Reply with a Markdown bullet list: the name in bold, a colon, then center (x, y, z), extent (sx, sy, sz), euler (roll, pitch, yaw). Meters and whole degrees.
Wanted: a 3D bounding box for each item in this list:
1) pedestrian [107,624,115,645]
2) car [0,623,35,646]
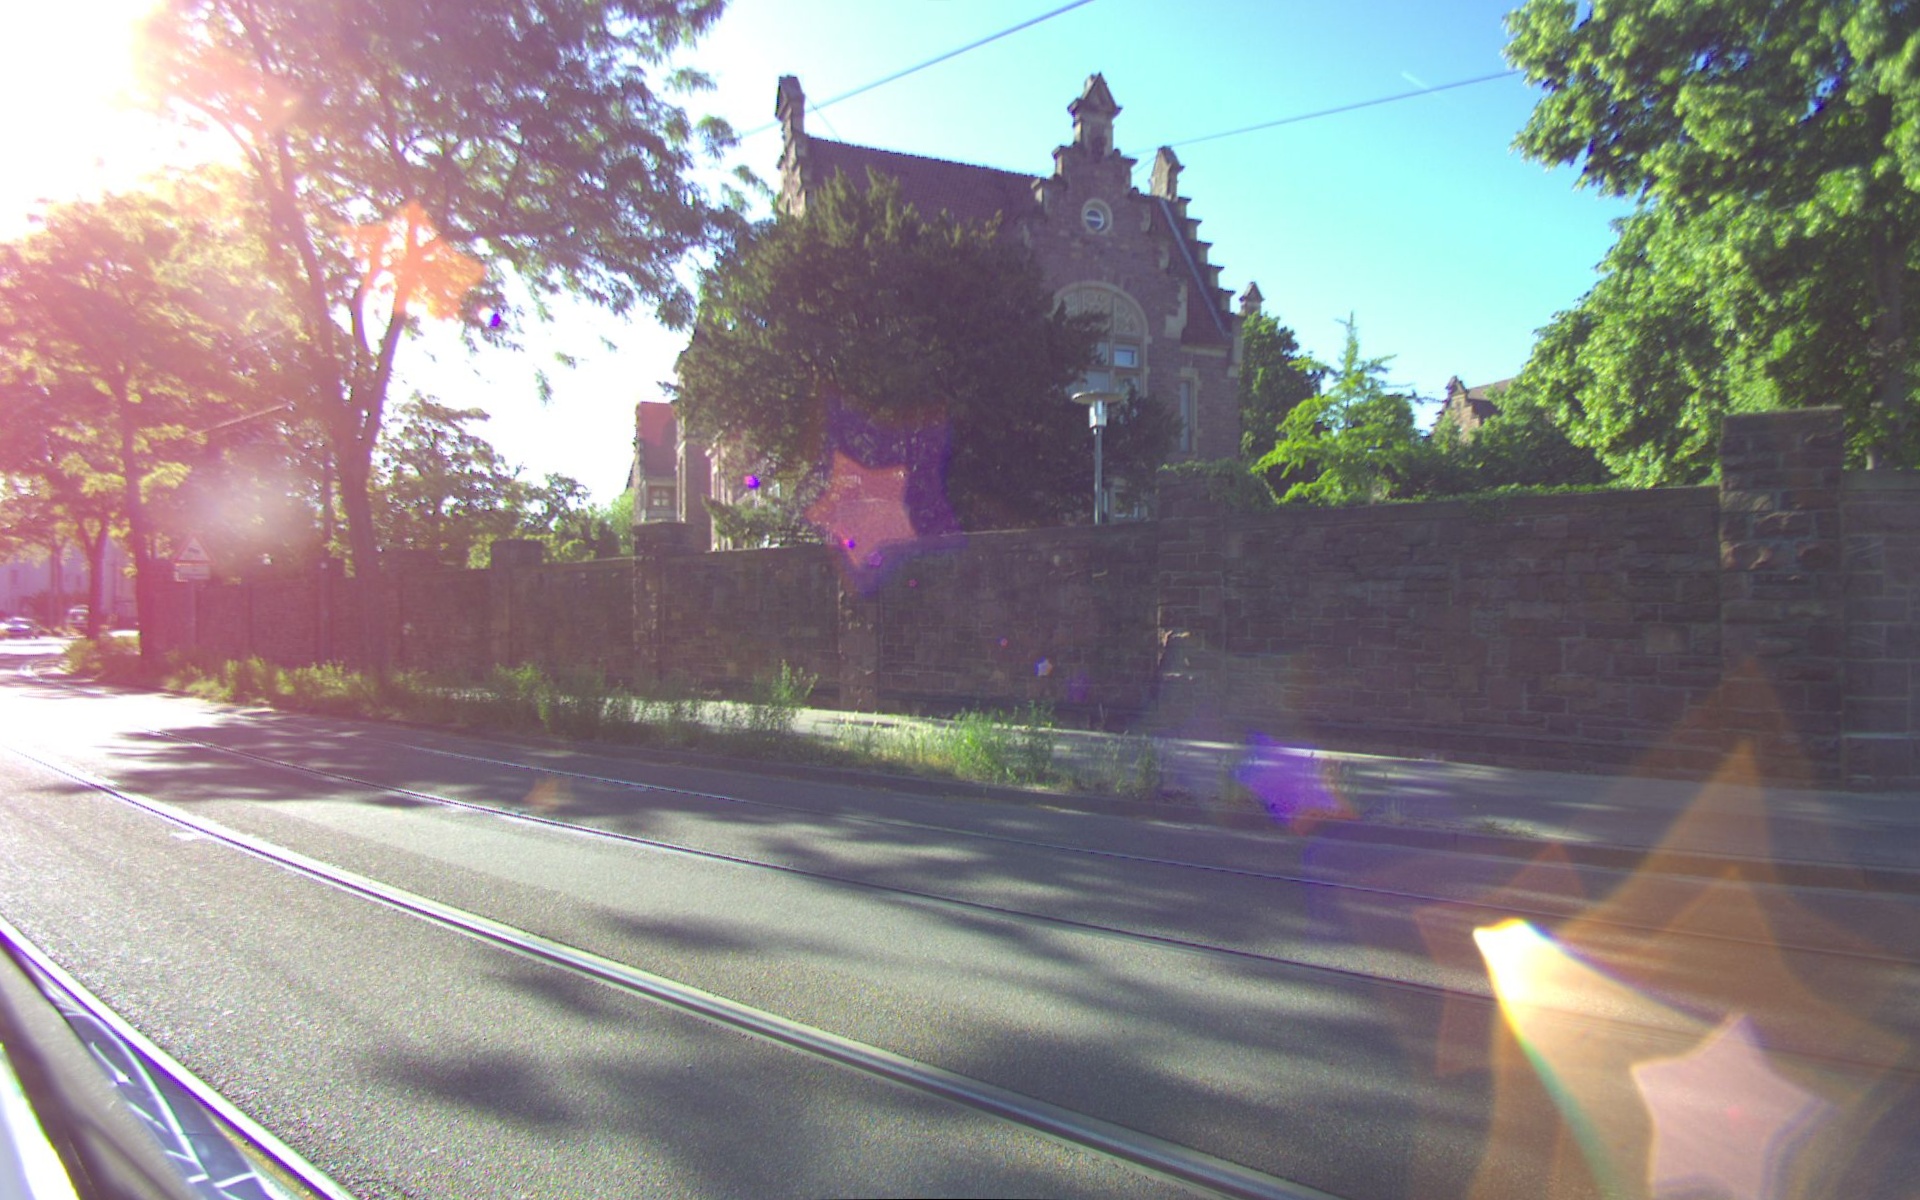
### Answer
- **pedestrian**: center (-74.381, 3.016, 88.646), extent (0.516, 1.847, 0.588), euler (0, -1, -34)
- **car**: center (-68.901, 2.511, 73.840), extent (1.969, 1.560, 4.005), euler (0, -1, -41)
